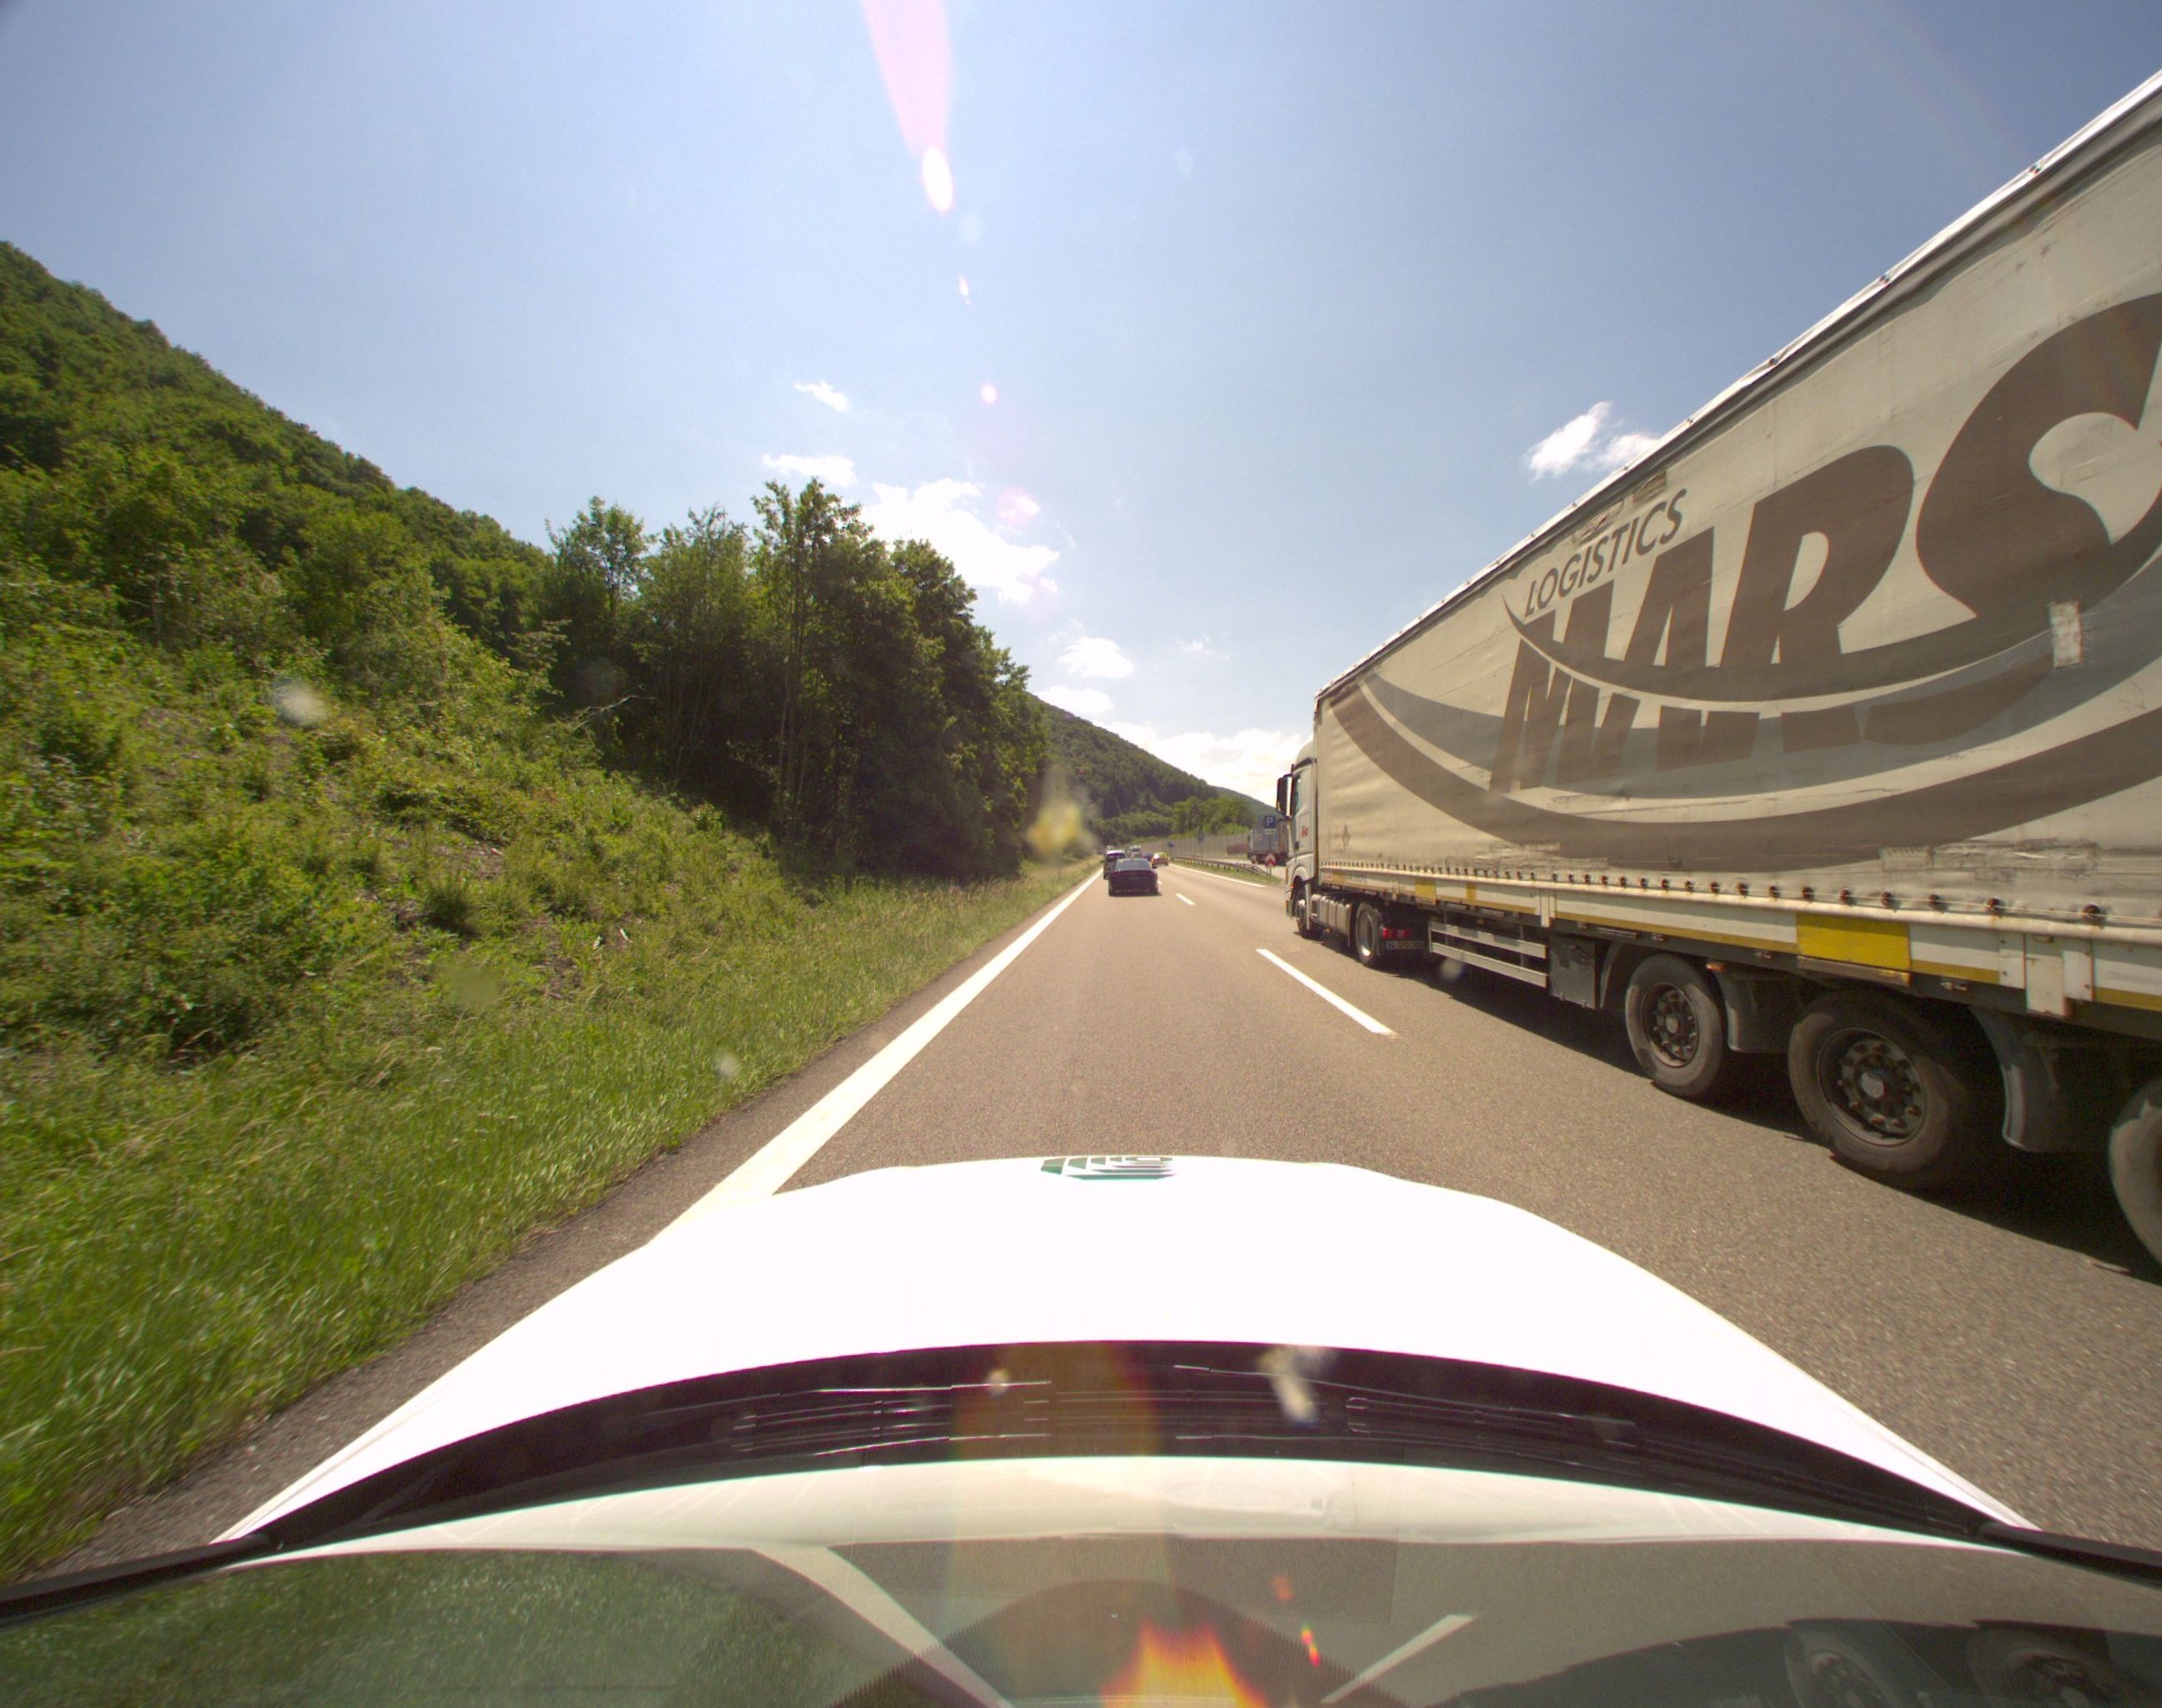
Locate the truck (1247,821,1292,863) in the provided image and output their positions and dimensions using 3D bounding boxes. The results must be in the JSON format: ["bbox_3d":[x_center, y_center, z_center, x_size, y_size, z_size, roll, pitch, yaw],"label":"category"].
[{"bbox_3d":[18.598,-1.150,80.642,3.398,3.900,5.390,-1,0,2],"label":"truck"}]

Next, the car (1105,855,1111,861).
[{"bbox_3d":[6.849,0.920,209.565,1.483,1.496,3.592,1,-1,3],"label":"car"}]

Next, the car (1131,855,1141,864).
[{"bbox_3d":[9.590,1.006,142.283,1.524,1.525,3.599,1,-1,3],"label":"car"}]

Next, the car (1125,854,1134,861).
[{"bbox_3d":[11.887,0.847,199.981,1.986,1.794,4.001,1,-1,2],"label":"car"}]

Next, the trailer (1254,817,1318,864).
[{"bbox_3d":[18.340,-1.139,73.817,3.398,3.900,11.157,-1,0,2],"label":"trailer"}]

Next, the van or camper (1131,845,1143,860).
[{"bbox_3d":[11.828,-0.339,172.926,2.419,3.155,5.206,1,-1,3],"label":"van or camper"}]

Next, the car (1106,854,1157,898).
[{"bbox_3d":[1.925,0.814,31.609,1.805,1.514,3.516,-3,0,2],"label":"car"}]

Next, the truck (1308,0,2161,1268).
[{"bbox_3d":[4.870,-0.679,6.411,2.716,4.068,13.745,0,-1,2],"label":"truck"}]

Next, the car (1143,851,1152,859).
[{"bbox_3d":[16.488,0.267,201.036,1.986,2.013,4.001,-1,0,1],"label":"car"}]

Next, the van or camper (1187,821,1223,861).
[{"bbox_3d":[12.626,-1.238,83.131,2.785,3.841,6.167,1,-1,1],"label":"van or camper"}]

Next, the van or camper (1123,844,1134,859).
[{"bbox_3d":[12.675,-0.663,218.541,2.785,3.907,6.167,1,-1,1],"label":"van or camper"}]

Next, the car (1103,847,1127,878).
[{"bbox_3d":[2.271,0.584,54.607,1.515,1.968,3.516,2,0,2],"label":"car"}]

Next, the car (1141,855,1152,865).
[{"bbox_3d":[9.543,0.882,118.978,1.524,1.525,3.599,1,-1,3],"label":"car"}]

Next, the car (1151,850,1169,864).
[{"bbox_3d":[9.063,0.364,93.394,1.871,1.499,4.003,-1,0,3],"label":"car"}]

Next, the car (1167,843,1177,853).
[{"bbox_3d":[18.144,-1.134,162.423,1.570,2.013,3.430,-1,0,3],"label":"car"}]

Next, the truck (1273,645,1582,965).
[{"bbox_3d":[5.067,-0.593,13.223,2.709,4.068,5.756,0,-1,1],"label":"truck"}]
